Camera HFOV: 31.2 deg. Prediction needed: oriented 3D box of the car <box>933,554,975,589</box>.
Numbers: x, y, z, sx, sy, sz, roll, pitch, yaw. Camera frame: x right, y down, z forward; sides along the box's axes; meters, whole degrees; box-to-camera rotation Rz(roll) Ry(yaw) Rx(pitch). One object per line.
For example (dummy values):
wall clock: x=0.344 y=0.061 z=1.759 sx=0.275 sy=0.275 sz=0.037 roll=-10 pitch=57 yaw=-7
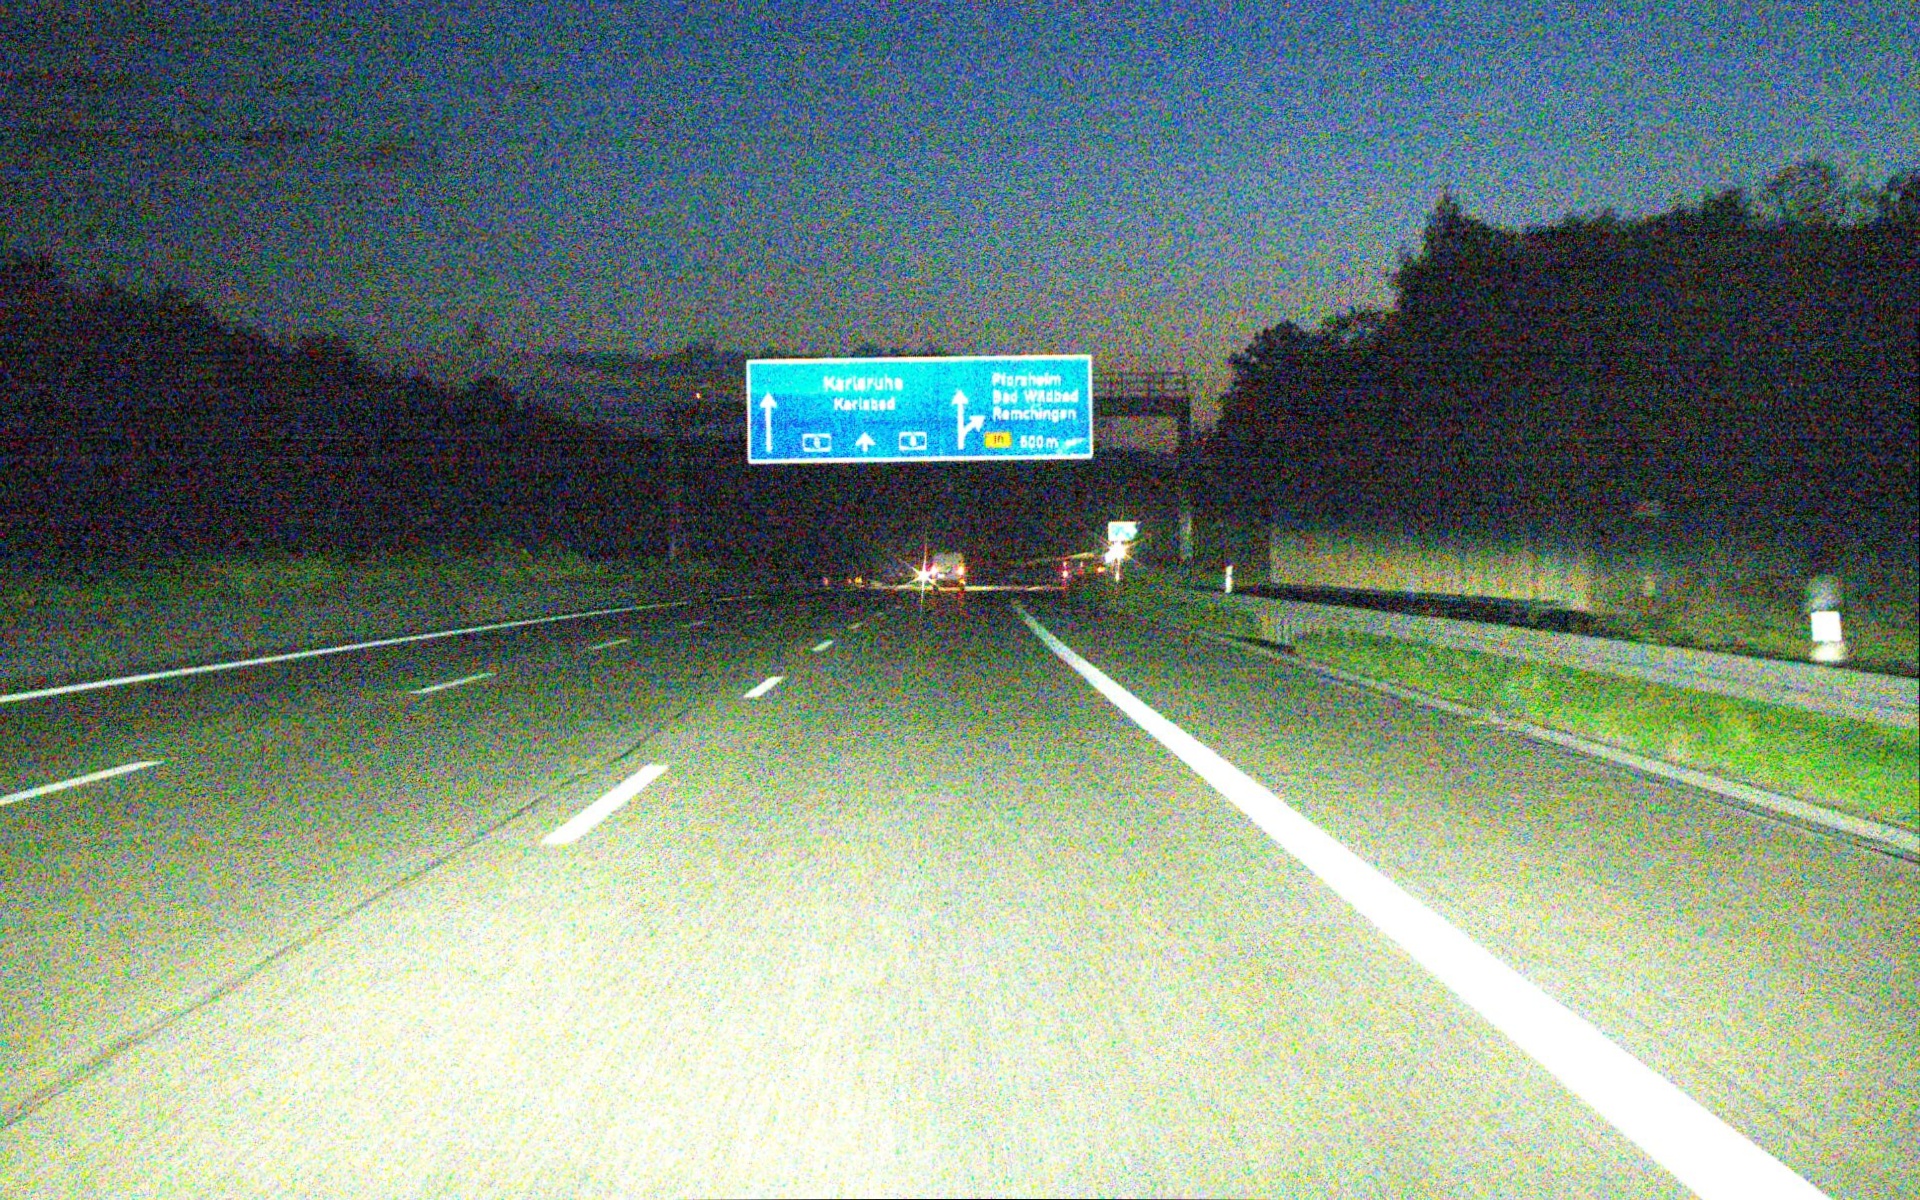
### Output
car: x=-0.397 y=-1.907 z=229.844 sx=2.511 sy=2.306 sz=4.970 roll=0 pitch=0 yaw=3
